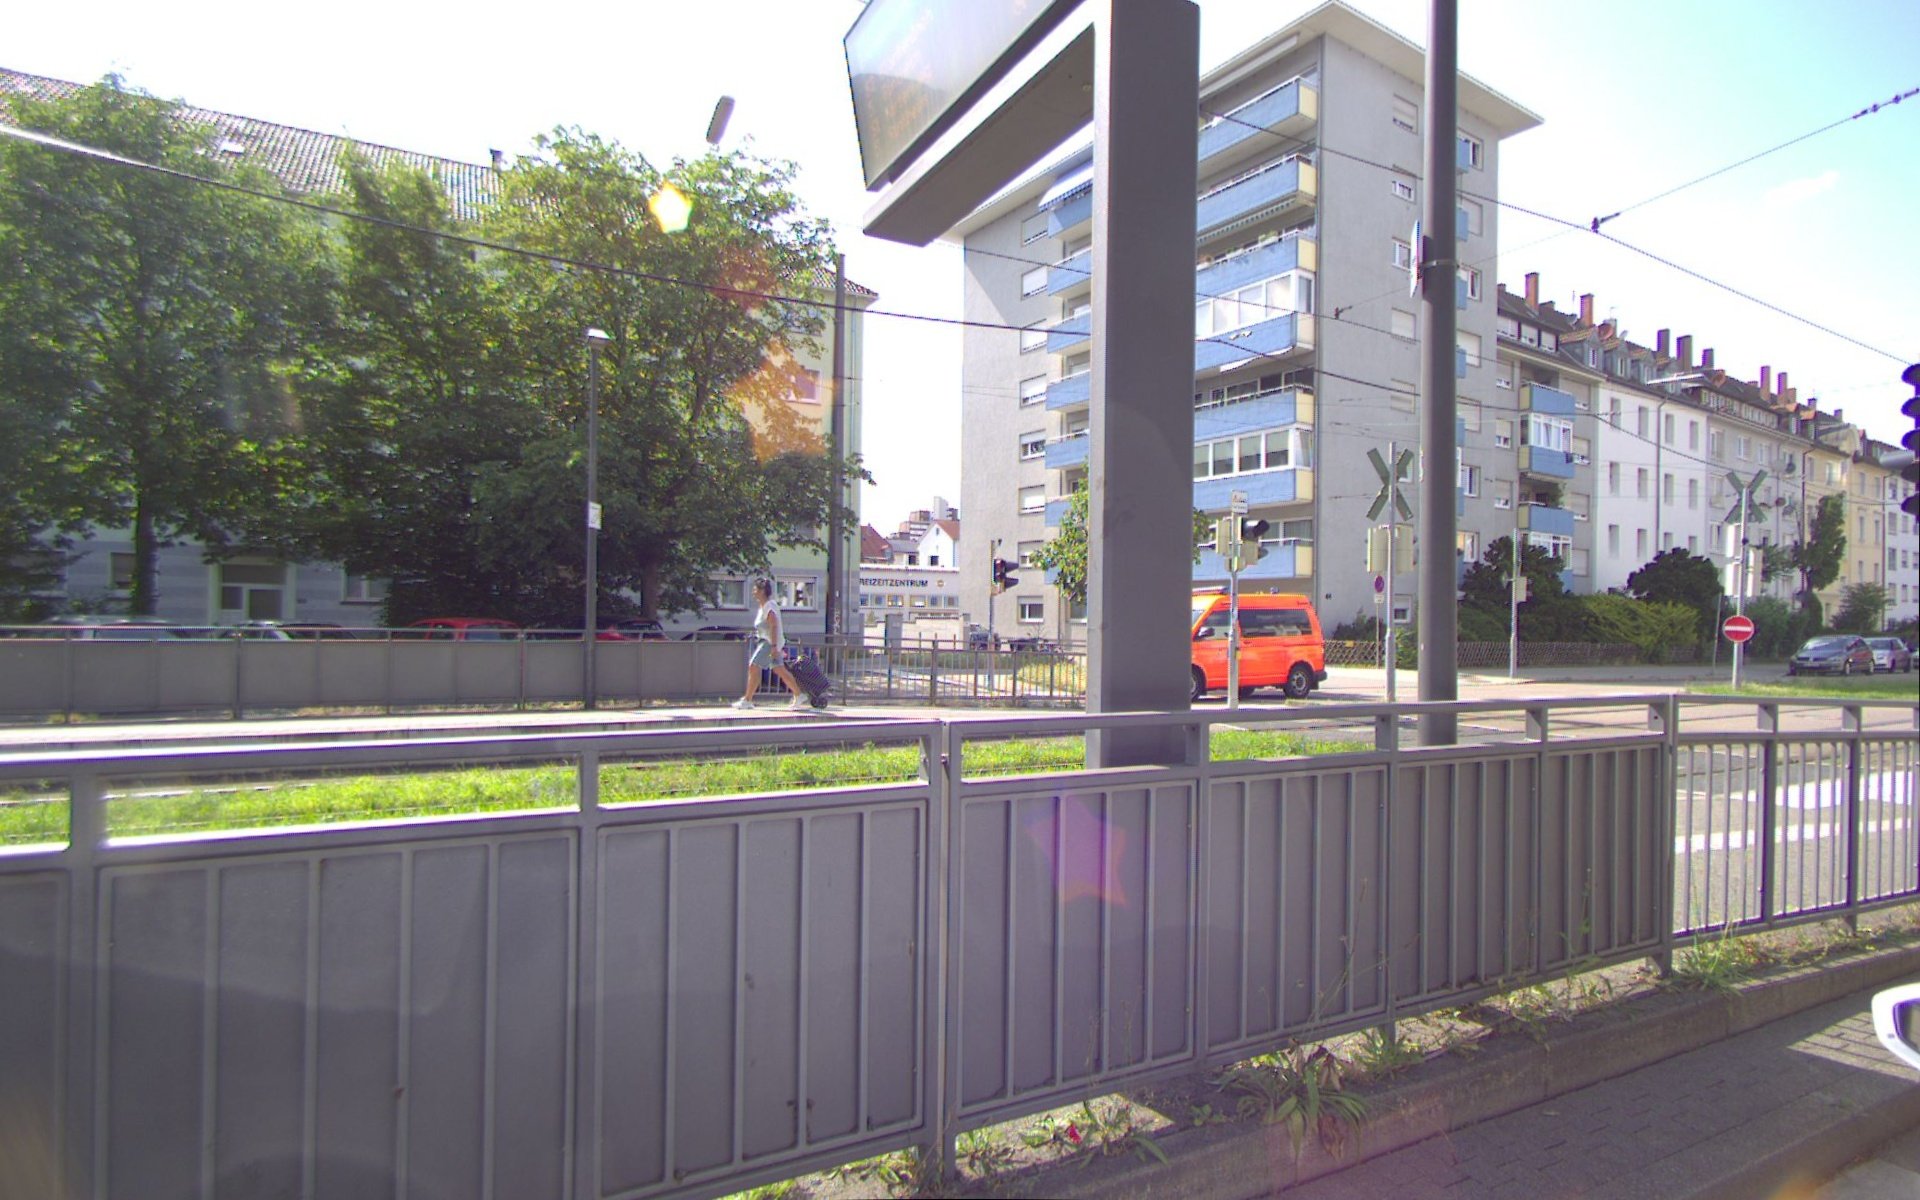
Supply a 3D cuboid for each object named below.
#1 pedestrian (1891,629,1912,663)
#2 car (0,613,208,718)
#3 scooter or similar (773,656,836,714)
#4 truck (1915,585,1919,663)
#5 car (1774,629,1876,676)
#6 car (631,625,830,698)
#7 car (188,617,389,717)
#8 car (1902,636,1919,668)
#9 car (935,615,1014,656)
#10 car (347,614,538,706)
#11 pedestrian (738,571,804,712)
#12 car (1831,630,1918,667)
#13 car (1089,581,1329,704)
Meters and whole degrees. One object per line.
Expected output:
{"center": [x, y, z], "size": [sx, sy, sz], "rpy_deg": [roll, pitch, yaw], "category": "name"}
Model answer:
{"center": [51.153, 2.514, 54.552], "size": [0.857, 1.817, 0.700], "rpy_deg": [1, -1, -36], "category": "pedestrian"}
{"center": [-14.205, 0.999, 16.559], "size": [3.959, 1.534, 1.605], "rpy_deg": [0, -1, 33], "category": "car"}
{"center": [-2.002, 1.083, 12.934], "size": [0.692, 0.708, 0.440], "rpy_deg": [1, -1, -29], "category": "scooter or similar"}
{"center": [43.706, 1.127, 42.863], "size": [8.297, 3.228, 2.579], "rpy_deg": [2, 0, -35], "category": "truck"}
{"center": [34.274, 2.066, 39.789], "size": [3.956, 1.667, 1.982], "rpy_deg": [2, 0, -32], "category": "car"}
{"center": [-4.986, 1.276, 21.812], "size": [4.055, 1.413, 1.608], "rpy_deg": [0, -1, 24], "category": "car"}
{"center": [-12.059, 1.121, 18.003], "size": [3.603, 1.600, 1.645], "rpy_deg": [0, -1, 32], "category": "car"}
{"center": [47.411, 2.550, 48.642], "size": [3.959, 1.461, 1.757], "rpy_deg": [2, 0, -34], "category": "car"}
{"center": [0.648, 1.637, 47.549], "size": [1.976, 1.706, 3.968], "rpy_deg": [2, 0, -30], "category": "car"}
{"center": [-9.983, 1.086, 19.326], "size": [3.603, 1.600, 1.645], "rpy_deg": [0, -1, 32], "category": "car"}
{"center": [-2.356, 0.511, 12.506], "size": [0.624, 1.686, 0.657], "rpy_deg": [1, -1, -29], "category": "pedestrian"}
{"center": [39.239, 2.076, 43.091], "size": [3.956, 1.461, 1.758], "rpy_deg": [2, 0, -32], "category": "car"}
{"center": [5.211, 0.894, 20.918], "size": [4.774, 2.305, 1.986], "rpy_deg": [1, -3, -29], "category": "car"}
